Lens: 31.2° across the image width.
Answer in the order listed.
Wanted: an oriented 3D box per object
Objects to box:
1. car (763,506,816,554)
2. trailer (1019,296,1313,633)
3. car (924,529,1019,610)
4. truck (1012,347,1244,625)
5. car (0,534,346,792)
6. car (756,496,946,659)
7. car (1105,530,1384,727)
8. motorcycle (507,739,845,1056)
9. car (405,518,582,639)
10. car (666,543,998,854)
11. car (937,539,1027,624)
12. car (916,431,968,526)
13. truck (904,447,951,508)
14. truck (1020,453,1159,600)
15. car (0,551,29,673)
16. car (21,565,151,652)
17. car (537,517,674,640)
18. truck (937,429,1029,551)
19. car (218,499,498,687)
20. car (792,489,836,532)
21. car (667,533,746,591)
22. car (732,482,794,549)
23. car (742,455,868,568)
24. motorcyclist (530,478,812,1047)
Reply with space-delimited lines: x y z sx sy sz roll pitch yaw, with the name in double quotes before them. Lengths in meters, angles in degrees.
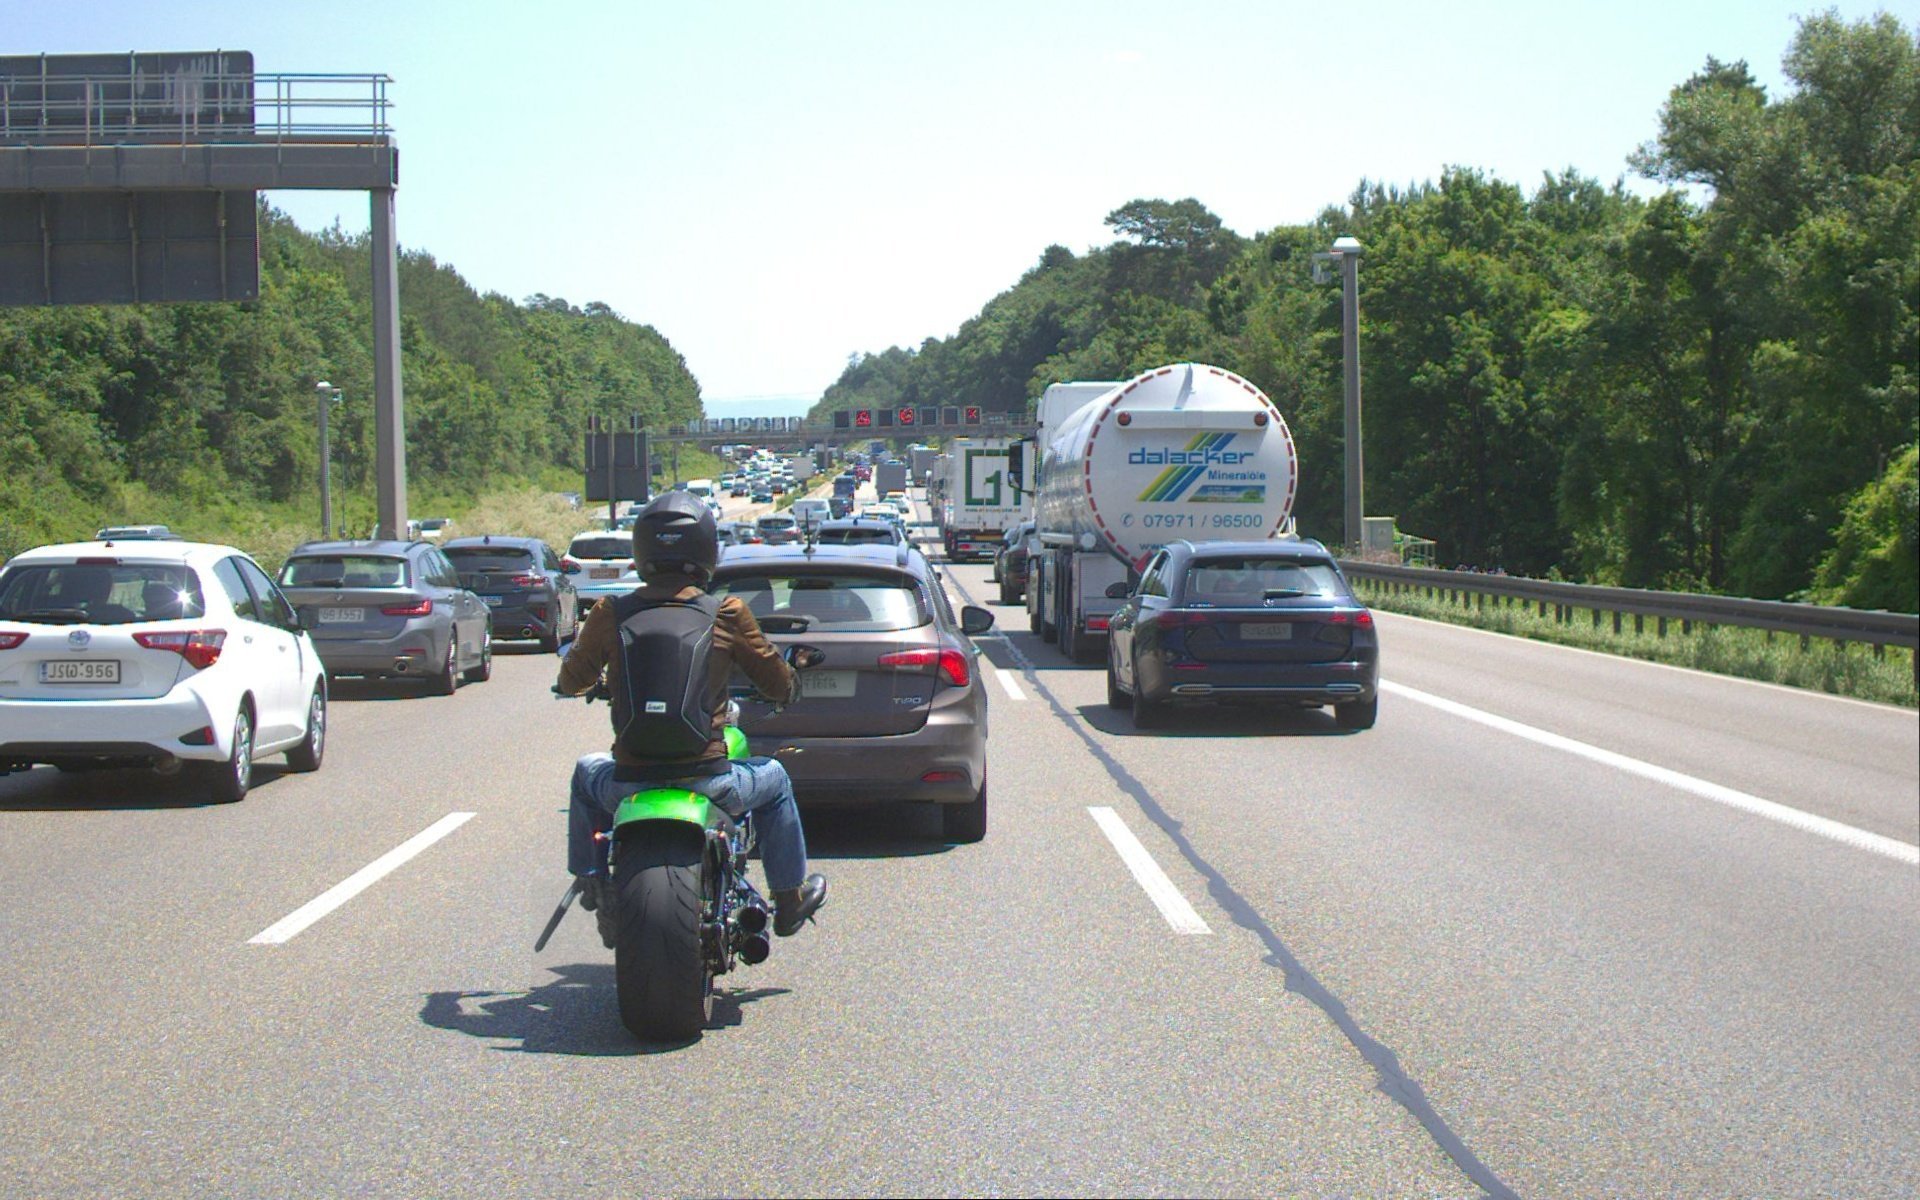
"car" -5.904 -2.420 119.222 1.660 1.594 4.000 0 1 0
"trailer" 2.347 -1.492 42.920 2.828 3.658 10.733 0 0 -1
"car" 0.198 -0.587 67.135 1.776 1.522 4.000 0 0 -1
"truck" 2.263 -1.509 48.525 2.828 3.658 6.430 0 0 -1
"car" -4.936 0.341 20.838 1.776 1.406 4.000 0 0 -1
"car" -1.213 -0.241 38.309 1.993 1.705 4.000 0 0 -2
"car" 2.214 0.205 27.849 1.792 1.453 4.624 0 0 -1
"motorcycle" -0.862 0.910 11.112 0.936 0.790 2.299 0 1 -1
"car" -5.861 -0.265 43.586 1.993 1.459 4.001 0 0 -4
"car" -0.632 0.429 18.052 1.541 1.445 4.000 0 1 -1
"car" 0.507 -0.435 83.342 1.993 2.007 4.000 0 0 -3
"car" -0.815 -5.283 151.443 2.167 3.879 9.330 0 0 -1
"truck" -1.975 -7.352 207.624 2.696 3.394 10.479 -1 1 -1
"truck" 2.698 -1.573 73.726 2.388 2.969 8.253 0 1 -2
"car" -16.724 0.196 56.161 1.954 2.007 4.000 0 0 0
"car" -20.682 0.194 81.488 1.993 2.007 4.283 0 0 0
"car" -5.951 -0.356 58.070 1.993 2.007 4.000 0 0 -1
"truck" 0.806 -3.599 114.348 2.854 3.808 7.187 0 0 2
"car" -5.685 -0.069 32.974 1.993 1.678 4.330 0 0 -1
"car" -7.022 -4.303 166.042 1.993 2.007 4.000 -1 1 -1
"car" -6.484 -0.960 88.299 1.764 1.437 4.000 0 0 0
"car" -5.952 -2.542 104.091 1.660 1.971 4.000 0 1 0
"car" -2.540 -1.440 56.957 1.993 1.769 4.000 0 0 -2
"motorcyclist" -0.878 0.481 10.697 0.799 1.682 1.016 0 0 -1
